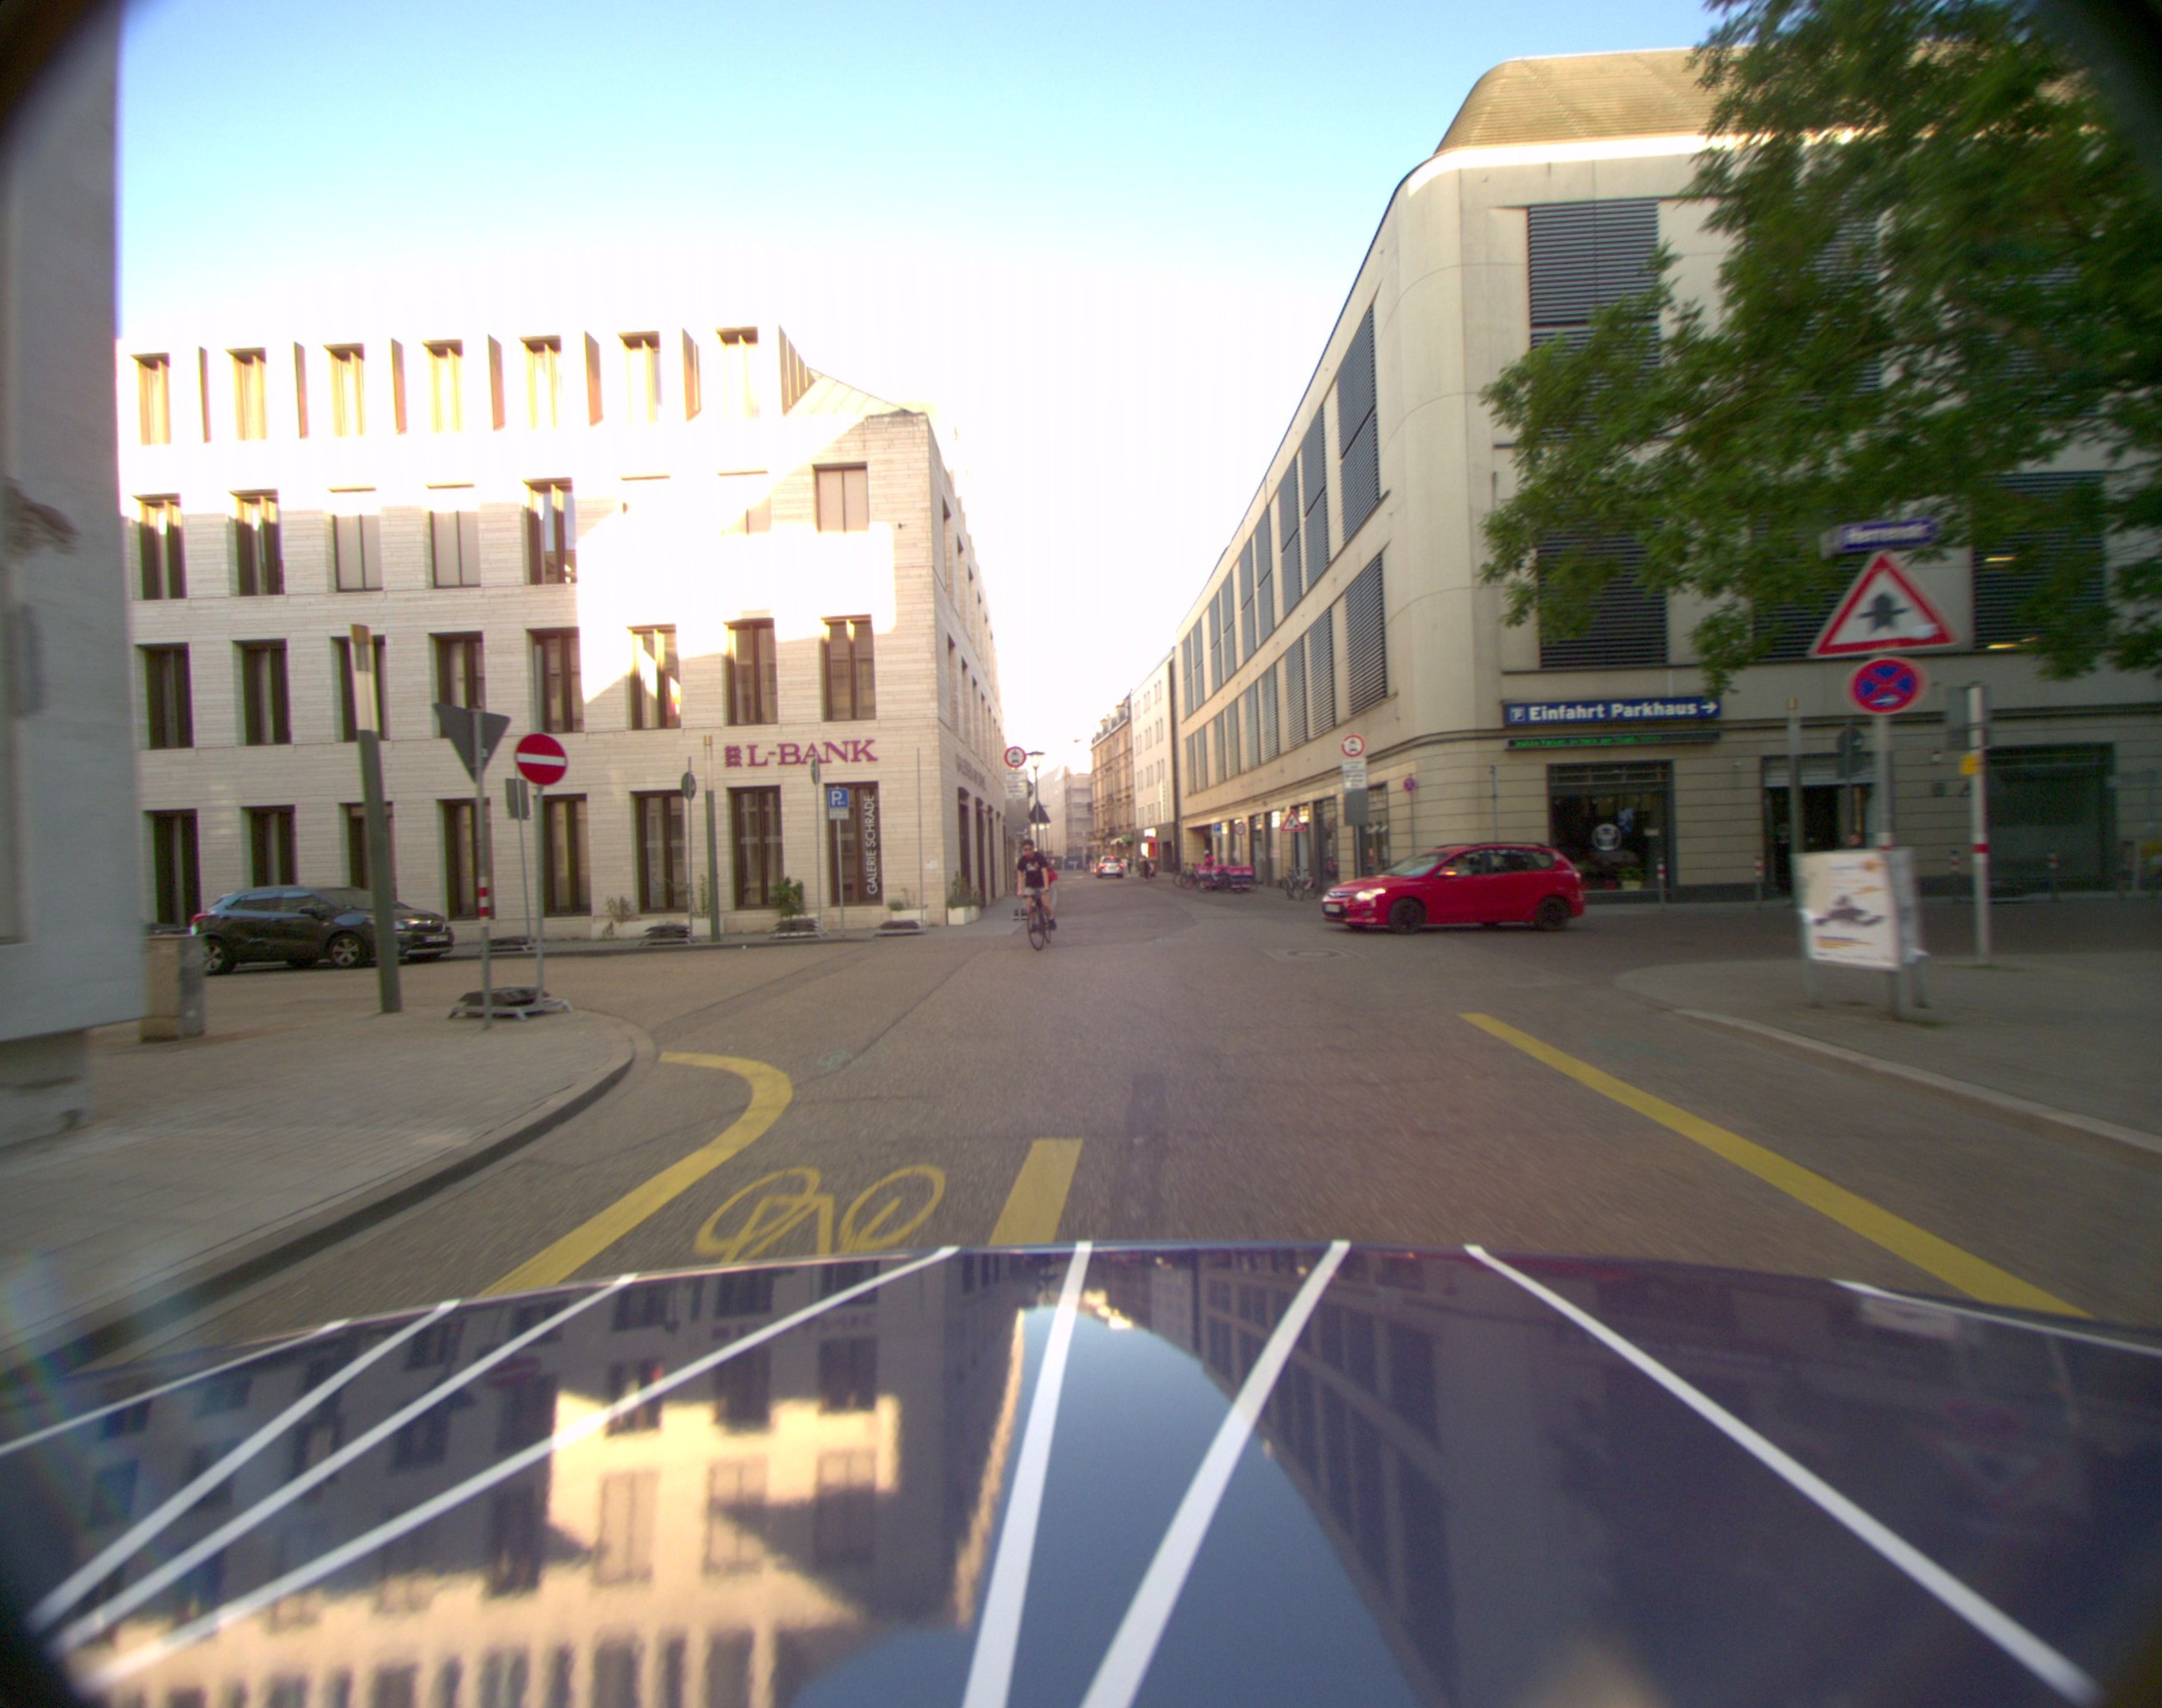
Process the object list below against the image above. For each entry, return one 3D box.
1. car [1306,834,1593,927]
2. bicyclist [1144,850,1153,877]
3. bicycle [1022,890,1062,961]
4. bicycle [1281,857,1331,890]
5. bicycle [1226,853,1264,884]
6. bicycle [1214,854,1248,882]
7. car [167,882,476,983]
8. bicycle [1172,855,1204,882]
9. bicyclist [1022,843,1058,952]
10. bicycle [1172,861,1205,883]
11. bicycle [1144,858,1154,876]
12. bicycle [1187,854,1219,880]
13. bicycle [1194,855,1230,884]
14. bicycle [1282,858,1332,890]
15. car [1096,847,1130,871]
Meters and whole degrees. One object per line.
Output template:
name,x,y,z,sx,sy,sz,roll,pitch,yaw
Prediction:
car,6.384,0.414,13.398,4.263,1.456,1.827,-1,1,-8
bicyclist,4.140,0.562,46.610,0.497,1.616,0.632,-2,2,7
bicycle,-0.669,1.146,12.611,0.511,0.968,1.819,-2,1,-7
bicycle,7.466,0.663,25.198,1.516,1.027,0.353,-3,0,22
bicycle,7.013,0.624,32.540,1.517,1.242,0.353,-2,2,5
bicycle,7.019,0.657,35.627,1.516,1.242,0.353,-1,2,18
car,-14.872,1.493,15.060,4.260,1.667,1.829,-3,-1,0
bicycle,5.204,0.717,36.857,1.517,1.242,0.353,-2,2,9
bicyclist,-0.671,0.689,12.441,0.501,1.722,0.551,-2,2,-7
bicycle,5.082,0.850,35.883,1.517,0.947,0.353,-2,2,6
bicycle,4.149,0.803,46.553,0.518,0.989,2.109,-2,1,7
bicycle,6.180,0.659,38.491,1.516,1.242,0.353,-1,2,13
bicycle,5.824,0.704,33.733,1.516,1.242,0.353,-1,2,18
bicycle,7.600,0.673,25.562,1.516,1.027,0.353,-3,0,22
car,2.353,0.362,57.331,2.176,1.652,3.998,-2,1,-2
